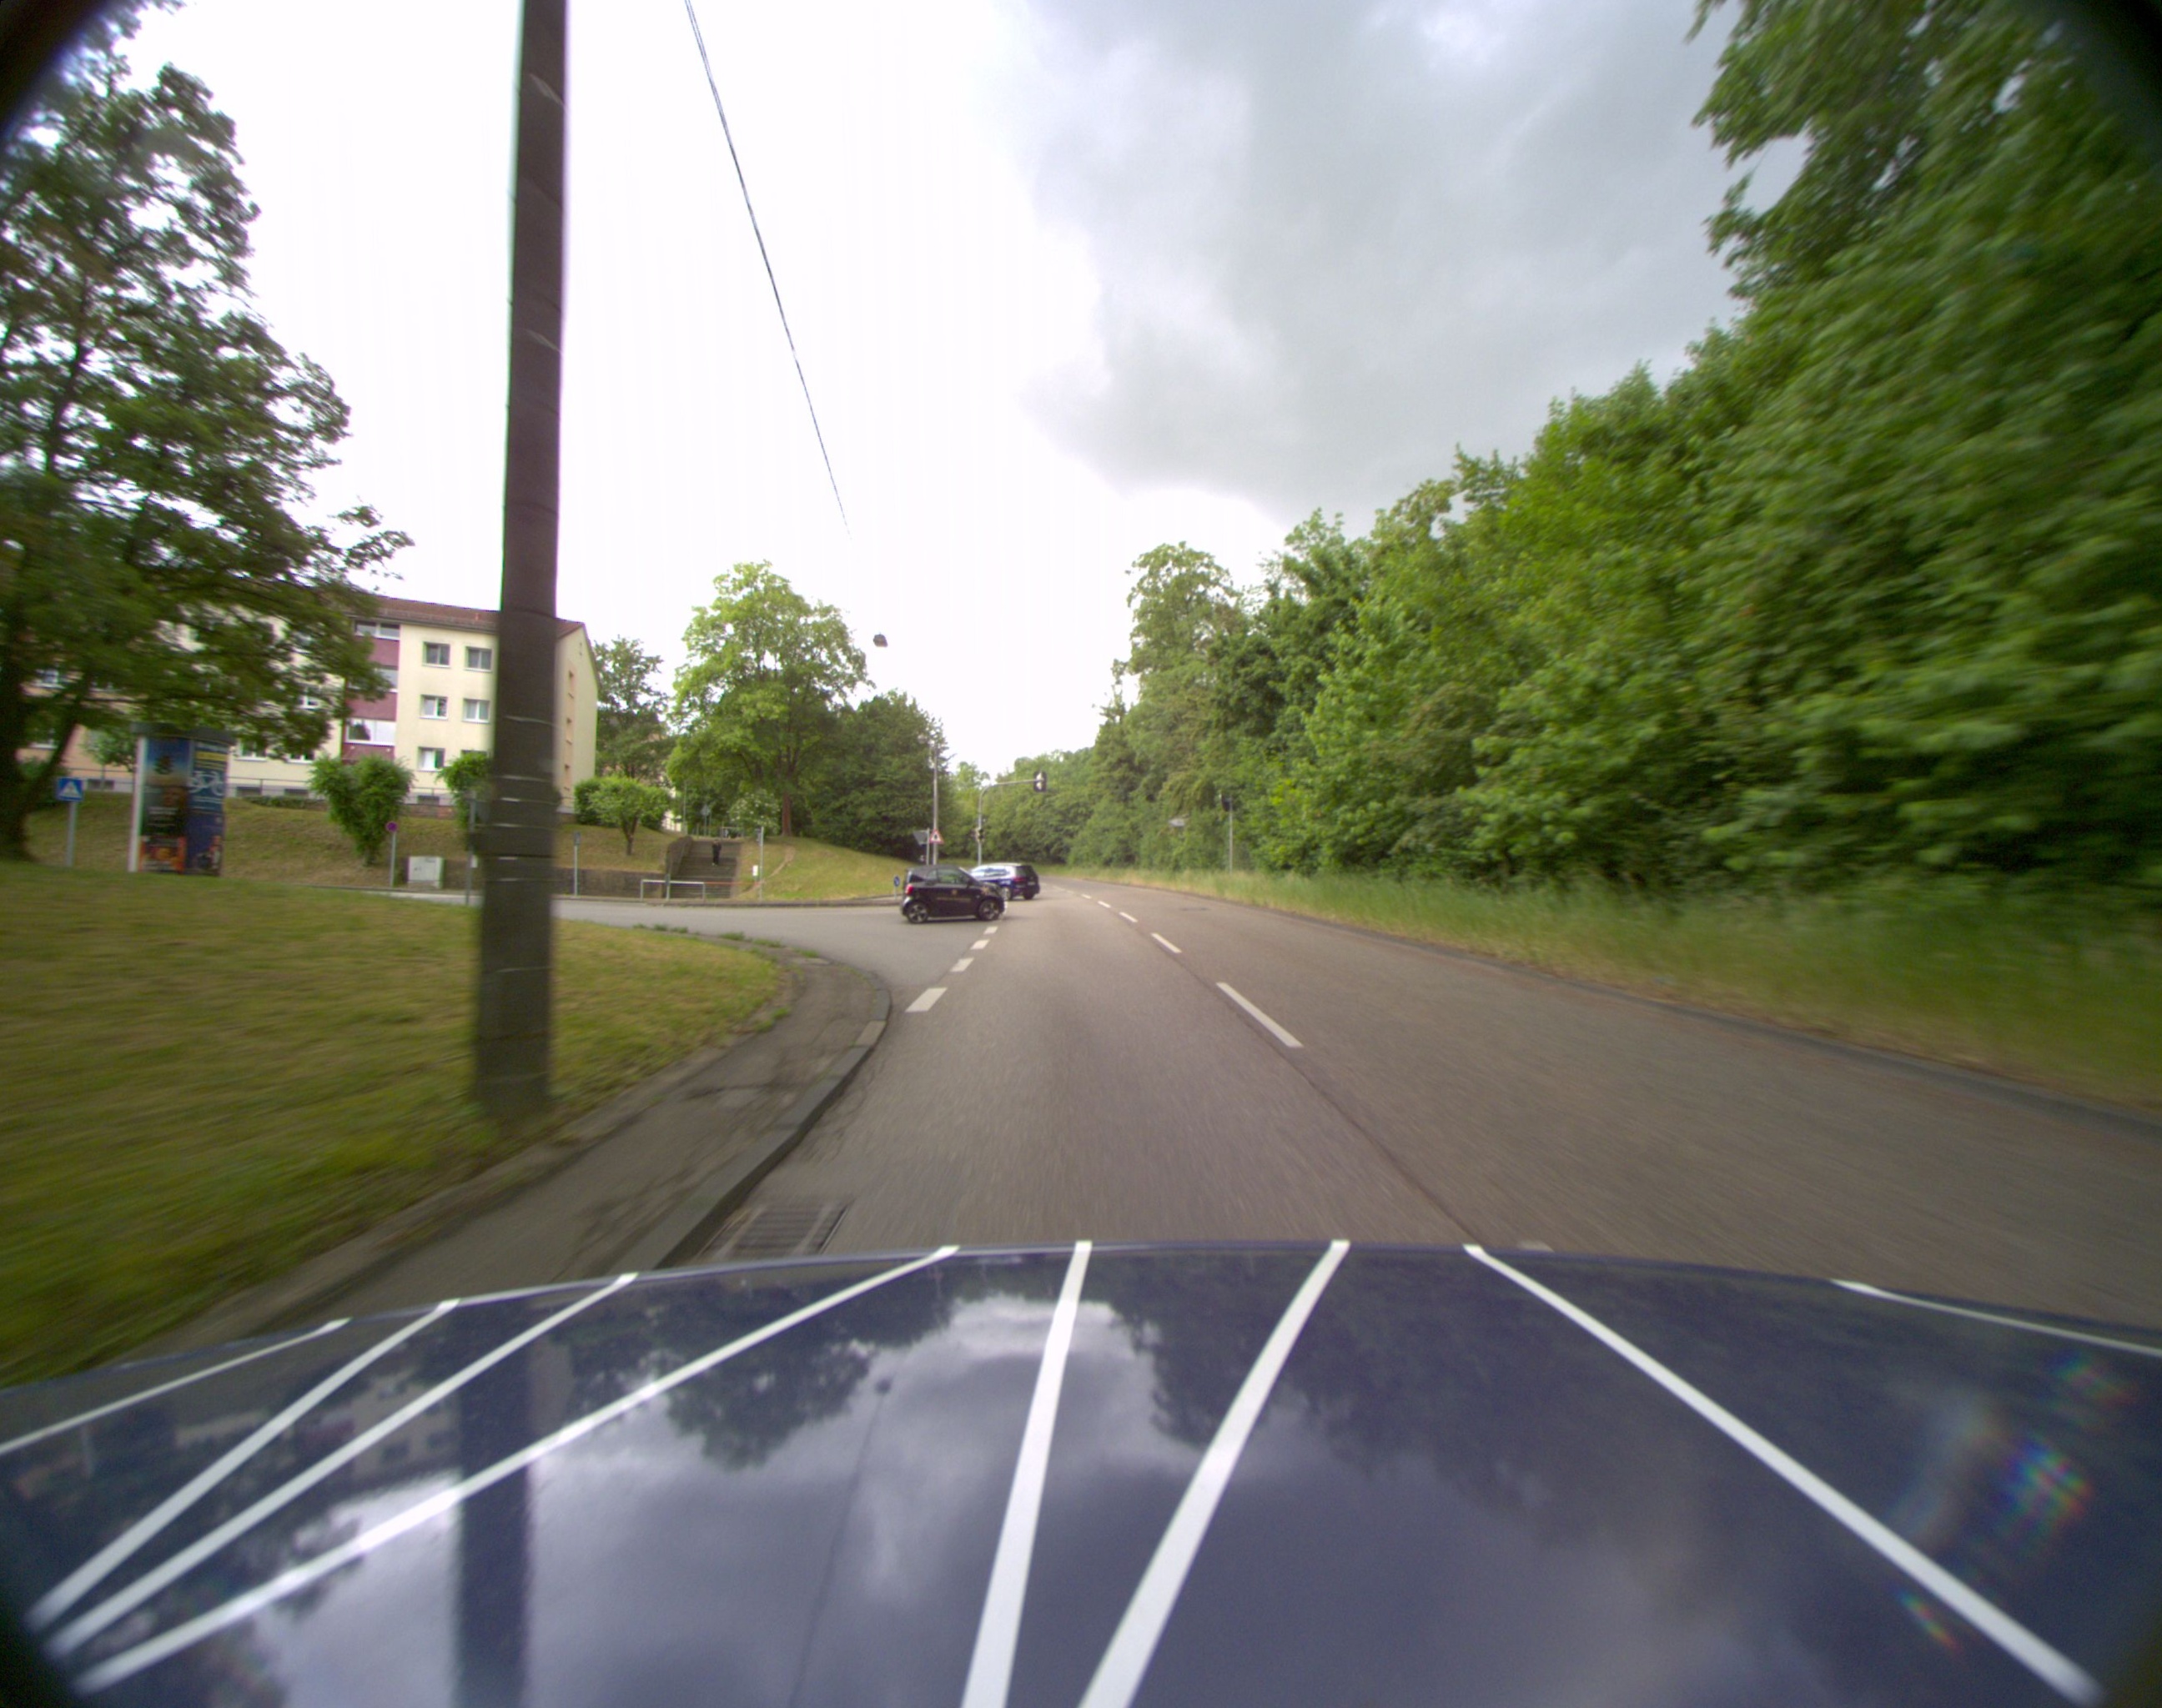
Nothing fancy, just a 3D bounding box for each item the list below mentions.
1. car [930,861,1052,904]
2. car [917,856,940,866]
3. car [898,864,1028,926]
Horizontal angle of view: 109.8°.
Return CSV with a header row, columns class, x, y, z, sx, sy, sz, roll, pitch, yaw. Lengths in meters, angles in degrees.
class,x,y,z,sx,sy,sz,roll,pitch,yaw
car,-3.829,1.206,32.034,4.831,1.505,1.798,-4,-1,26
car,-21.467,0.964,106.941,1.907,1.346,4.830,0,1,-27
car,-3.252,1.074,20.766,3.316,1.486,1.665,-2,1,-15
